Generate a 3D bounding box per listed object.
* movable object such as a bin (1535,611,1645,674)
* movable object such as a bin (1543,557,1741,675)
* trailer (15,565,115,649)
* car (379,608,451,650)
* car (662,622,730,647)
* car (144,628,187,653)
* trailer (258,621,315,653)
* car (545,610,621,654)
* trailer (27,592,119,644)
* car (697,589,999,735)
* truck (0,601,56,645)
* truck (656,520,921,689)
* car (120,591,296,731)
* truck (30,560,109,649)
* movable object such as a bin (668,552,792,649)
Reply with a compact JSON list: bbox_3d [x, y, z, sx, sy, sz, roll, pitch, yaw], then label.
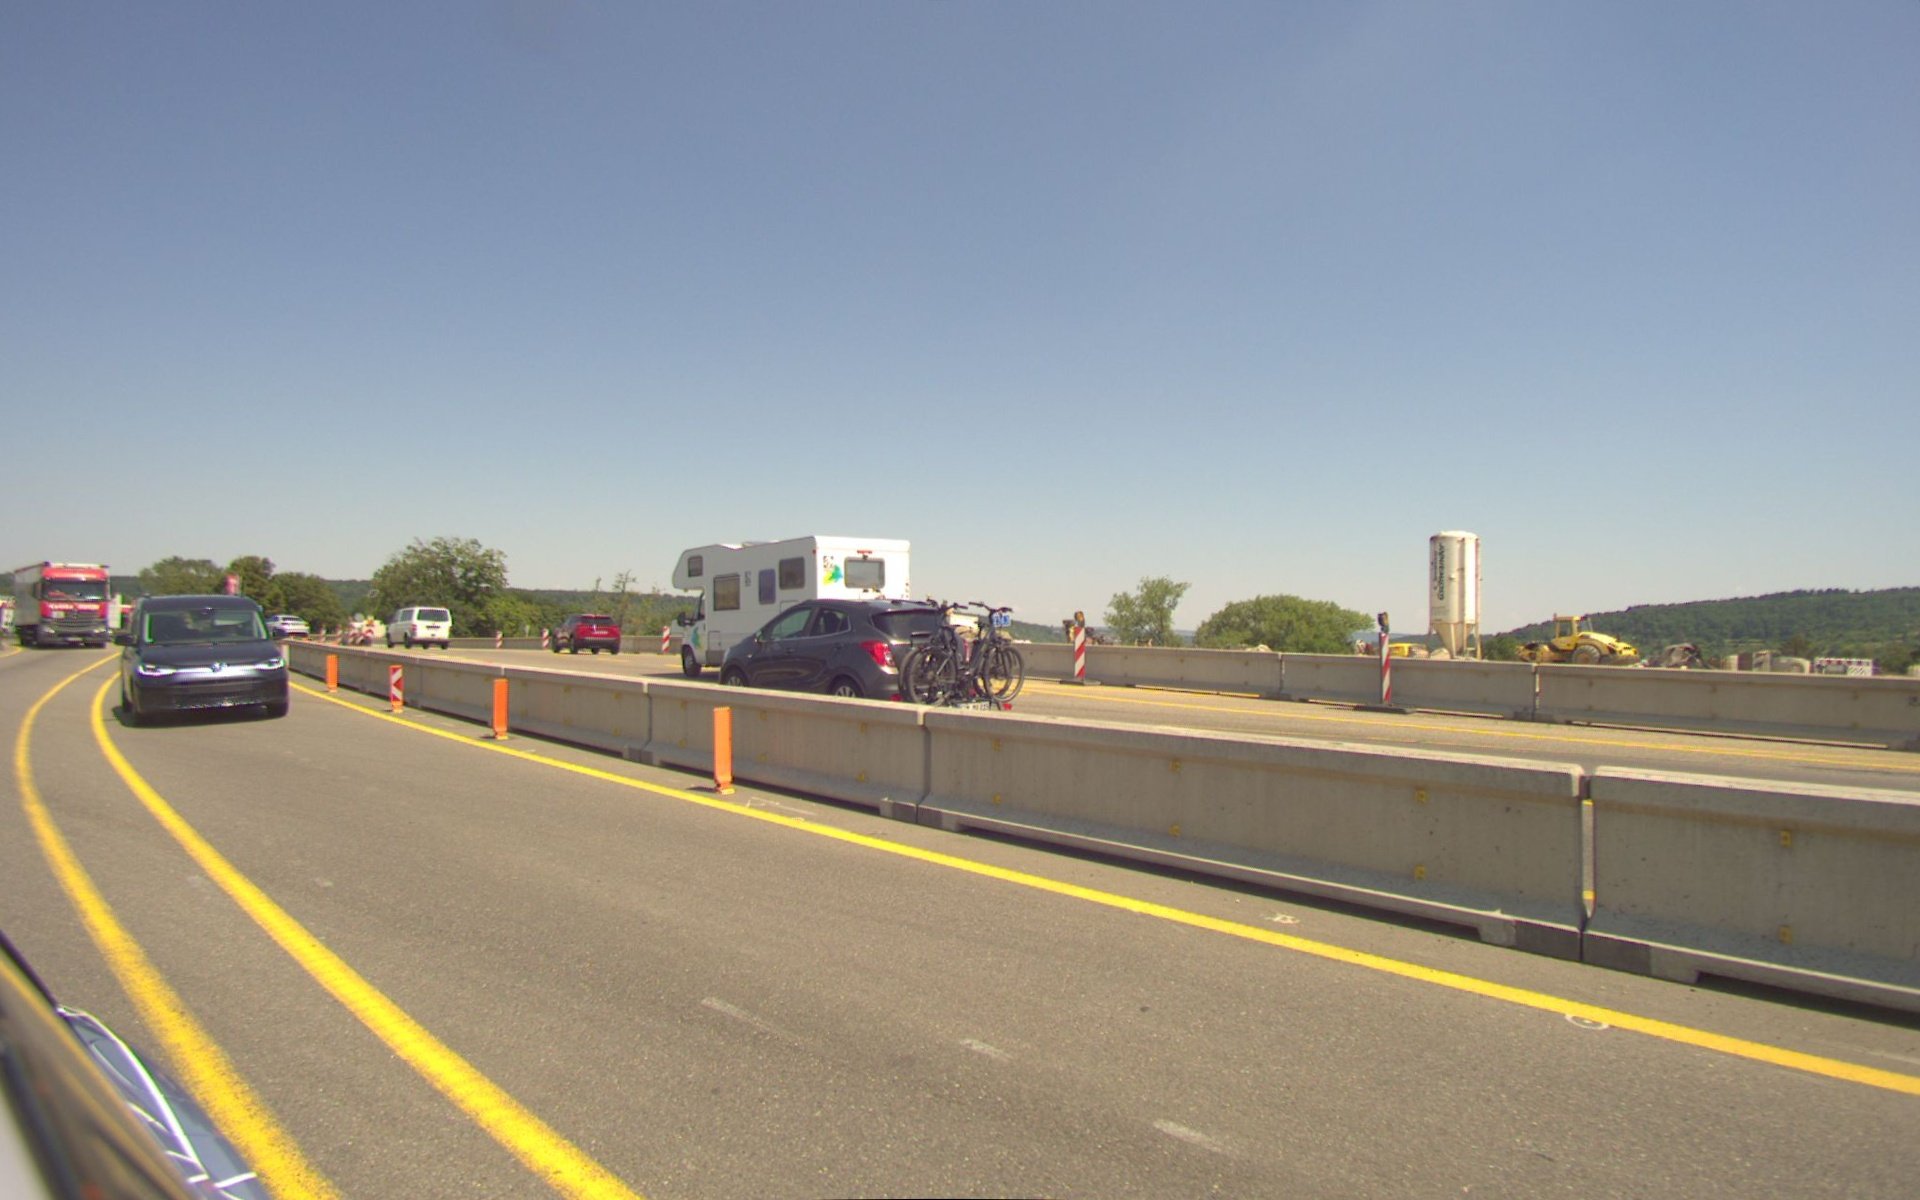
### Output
[{"bbox_3d":[33.112,2.219,53.305,1.966,3.165,4.498,1,-2,-32],"label":"movable object such as a bin"},{"bbox_3d":[19.755,0.501,29.509,1.966,3.165,4.289,1,-2,-32],"label":"movable object such as a bin"},{"bbox_3d":[-46.305,0.482,52.180,12.423,3.904,2.665,-2,-3,43],"label":"trailer"},{"bbox_3d":[-26.753,1.415,49.570,1.844,1.968,4.896,2,-3,-44],"label":"car"},{"bbox_3d":[-18.369,2.406,70.412,4.869,1.726,1.706,-1,-2,33],"label":"car"},{"bbox_3d":[-41.496,2.087,52.846,1.688,1.271,4.007,2,-3,-39],"label":"car"},{"bbox_3d":[-43.611,2.391,65.508,4.431,2.037,1.847,-1,-3,39],"label":"trailer"},{"bbox_3d":[-14.831,1.267,39.685,1.697,1.640,4.346,2,-2,-36],"label":"car"},{"bbox_3d":[-76.400,1.606,87.037,13.028,4.184,2.565,-1,-2,34],"label":"trailer"},{"bbox_3d":[-1.631,0.760,13.388,1.641,1.617,4.399,2,-3,-44],"label":"car"},{"bbox_3d":[-76.508,1.881,82.232,6.901,3.407,2.561,-1,-2,31],"label":"truck"},{"bbox_3d":[-4.013,0.197,22.142,2.410,3.095,7.260,2,-3,-39],"label":"truck"},{"bbox_3d":[-11.548,0.823,15.422,1.897,1.803,4.611,0,-1,-40],"label":"car"},{"bbox_3d":[-41.697,0.272,47.507,2.587,3.933,4.941,2,-3,-40],"label":"truck"},{"bbox_3d":[-11.589,0.161,50.125,2.884,4.363,9.351,1,-2,-33],"label":"movable object such as a bin"}]
